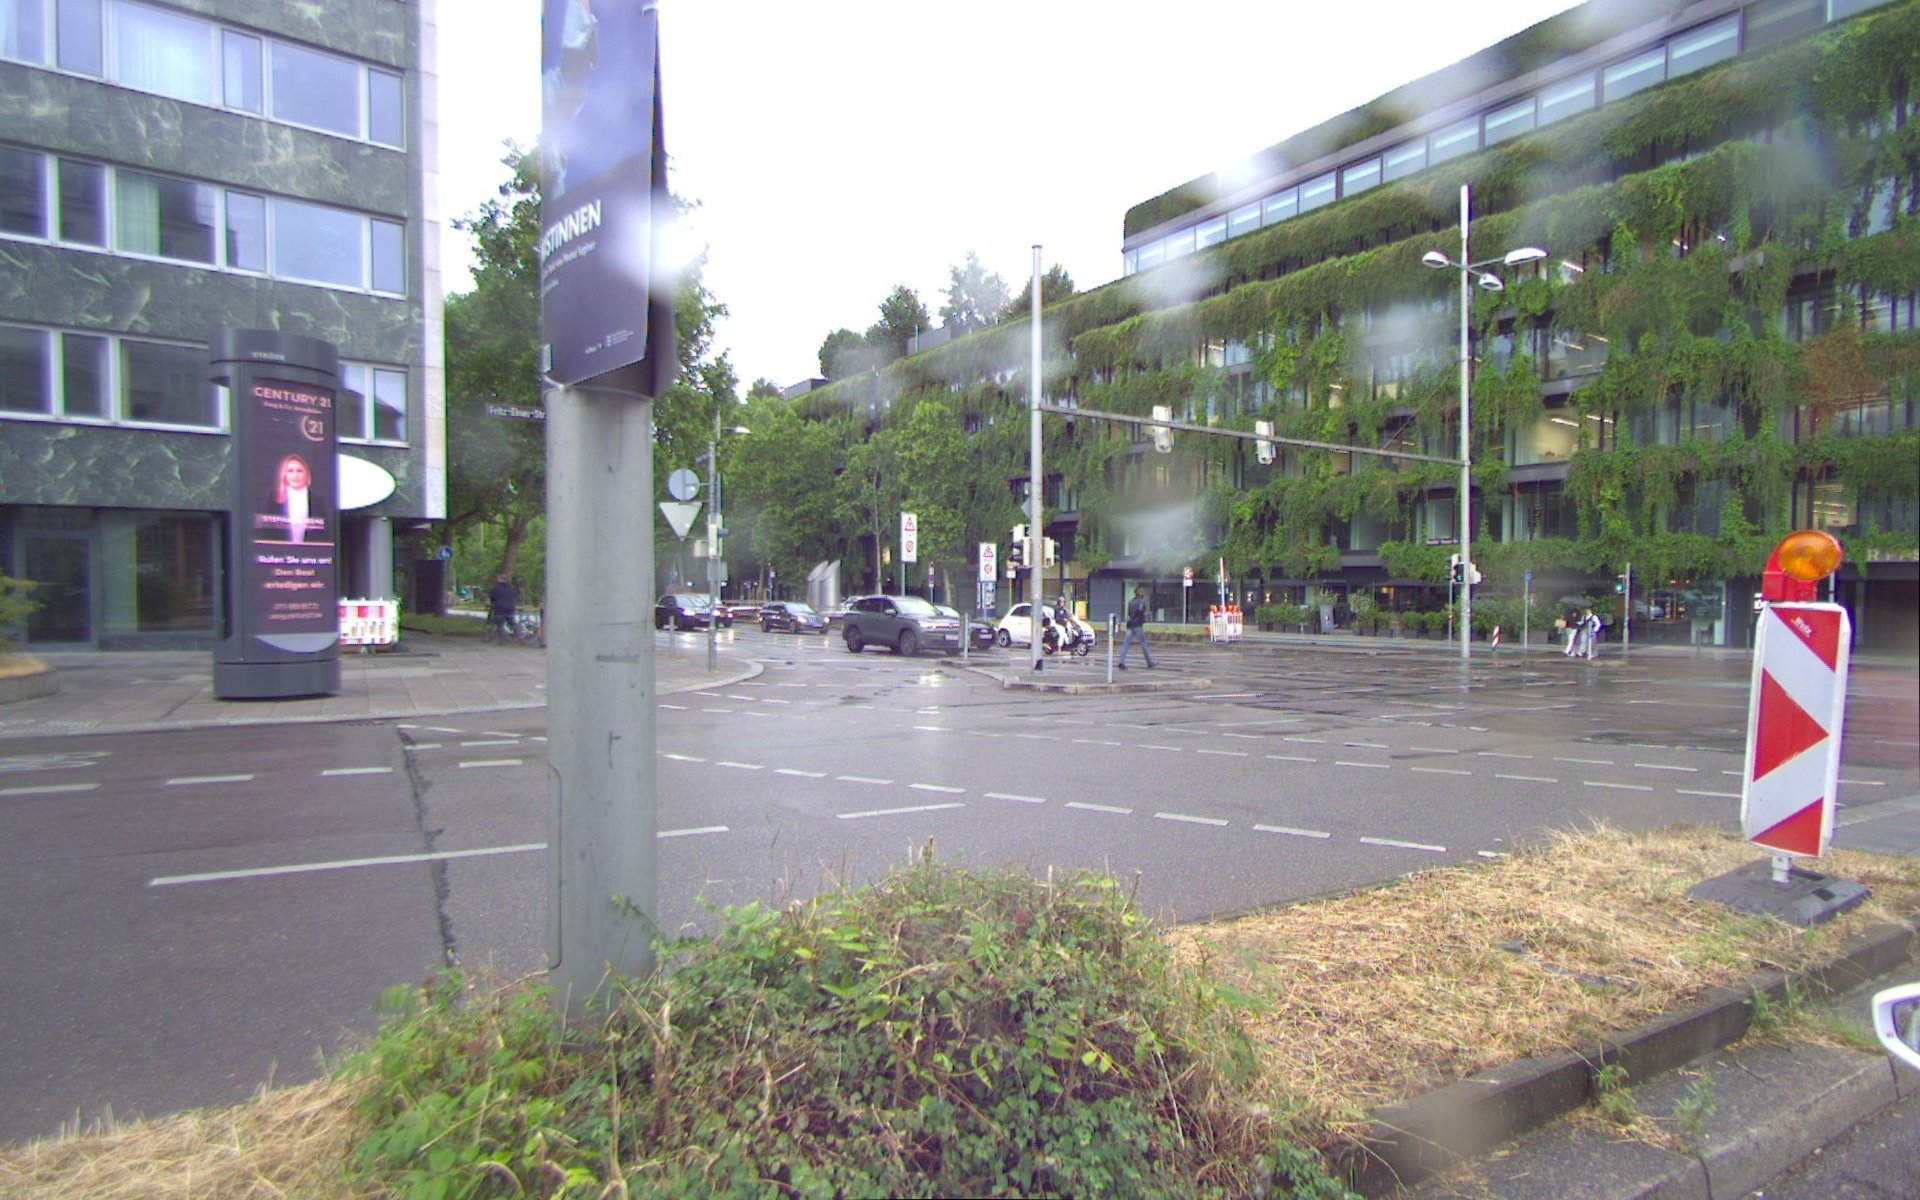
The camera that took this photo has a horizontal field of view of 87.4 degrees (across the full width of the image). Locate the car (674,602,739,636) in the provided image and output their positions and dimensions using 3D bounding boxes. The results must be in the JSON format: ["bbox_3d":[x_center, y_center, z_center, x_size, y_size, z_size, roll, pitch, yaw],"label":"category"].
[{"bbox_3d":[-13.726,1.013,54.289,1.805,1.674,4.053,3,-1,-40],"label":"car"}]

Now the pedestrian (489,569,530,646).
[{"bbox_3d":[-11.560,0.212,25.775,0.887,1.909,0.781,1,-4,-30],"label":"pedestrian"}]

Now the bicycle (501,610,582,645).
[{"bbox_3d":[-12.122,0.797,29.156,2.170,0.968,0.423,2,-1,-44],"label":"bicycle"}]

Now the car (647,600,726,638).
[{"bbox_3d":[-12.989,0.879,47.641,1.986,1.674,4.050,3,-1,-42],"label":"car"}]

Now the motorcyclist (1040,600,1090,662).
[{"bbox_3d":[3.030,0.875,29.055,1.173,1.725,0.843,1,0,44],"label":"motorcyclist"}]

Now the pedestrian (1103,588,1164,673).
[{"bbox_3d":[4.037,0.698,23.362,1.225,1.910,0.685,1,2,-34],"label":"pedestrian"}]

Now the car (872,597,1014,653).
[{"bbox_3d":[-0.640,0.760,32.771,1.957,1.674,4.755,1,0,-43],"label":"car"}]

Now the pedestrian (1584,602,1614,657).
[{"bbox_3d":[21.155,0.966,33.248,0.731,1.781,0.972,1,0,37],"label":"pedestrian"}]

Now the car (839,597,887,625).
[{"bbox_3d":[-7.508,0.821,77.297,1.979,2.040,4.073,1,-1,-34],"label":"car"}]

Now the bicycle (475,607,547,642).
[{"bbox_3d":[-12.389,0.684,27.770,1.773,0.946,0.473,1,0,-21],"label":"bicycle"}]

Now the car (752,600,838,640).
[{"bbox_3d":[-7.536,0.887,45.729,1.986,1.674,4.050,3,-1,-42],"label":"car"}]

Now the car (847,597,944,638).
[{"bbox_3d":[-2.590,0.669,39.679,1.858,1.543,3.855,1,0,-42],"label":"car"}]

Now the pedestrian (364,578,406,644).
[{"bbox_3d":[-14.607,0.297,25.528,0.912,1.606,0.828,1,-4,-30],"label":"pedestrian"}]

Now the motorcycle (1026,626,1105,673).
[{"bbox_3d":[3.033,1.406,29.044,2.204,1.227,0.843,1,0,44],"label":"motorcycle"}]

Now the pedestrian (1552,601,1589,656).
[{"bbox_3d":[20.470,0.938,33.666,0.923,1.781,1.167,1,0,37],"label":"pedestrian"}]

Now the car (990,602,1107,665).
[{"bbox_3d":[2.906,1.057,33.248,1.985,1.948,3.417,1,0,-42],"label":"car"}]

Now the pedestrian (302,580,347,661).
[{"bbox_3d":[-15.331,0.504,24.218,0.868,1.878,1.015,1,-4,-34],"label":"pedestrian"}]

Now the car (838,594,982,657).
[{"bbox_3d":[-1.514,0.681,29.056,1.985,1.674,4.186,1,0,-42],"label":"car"}]
